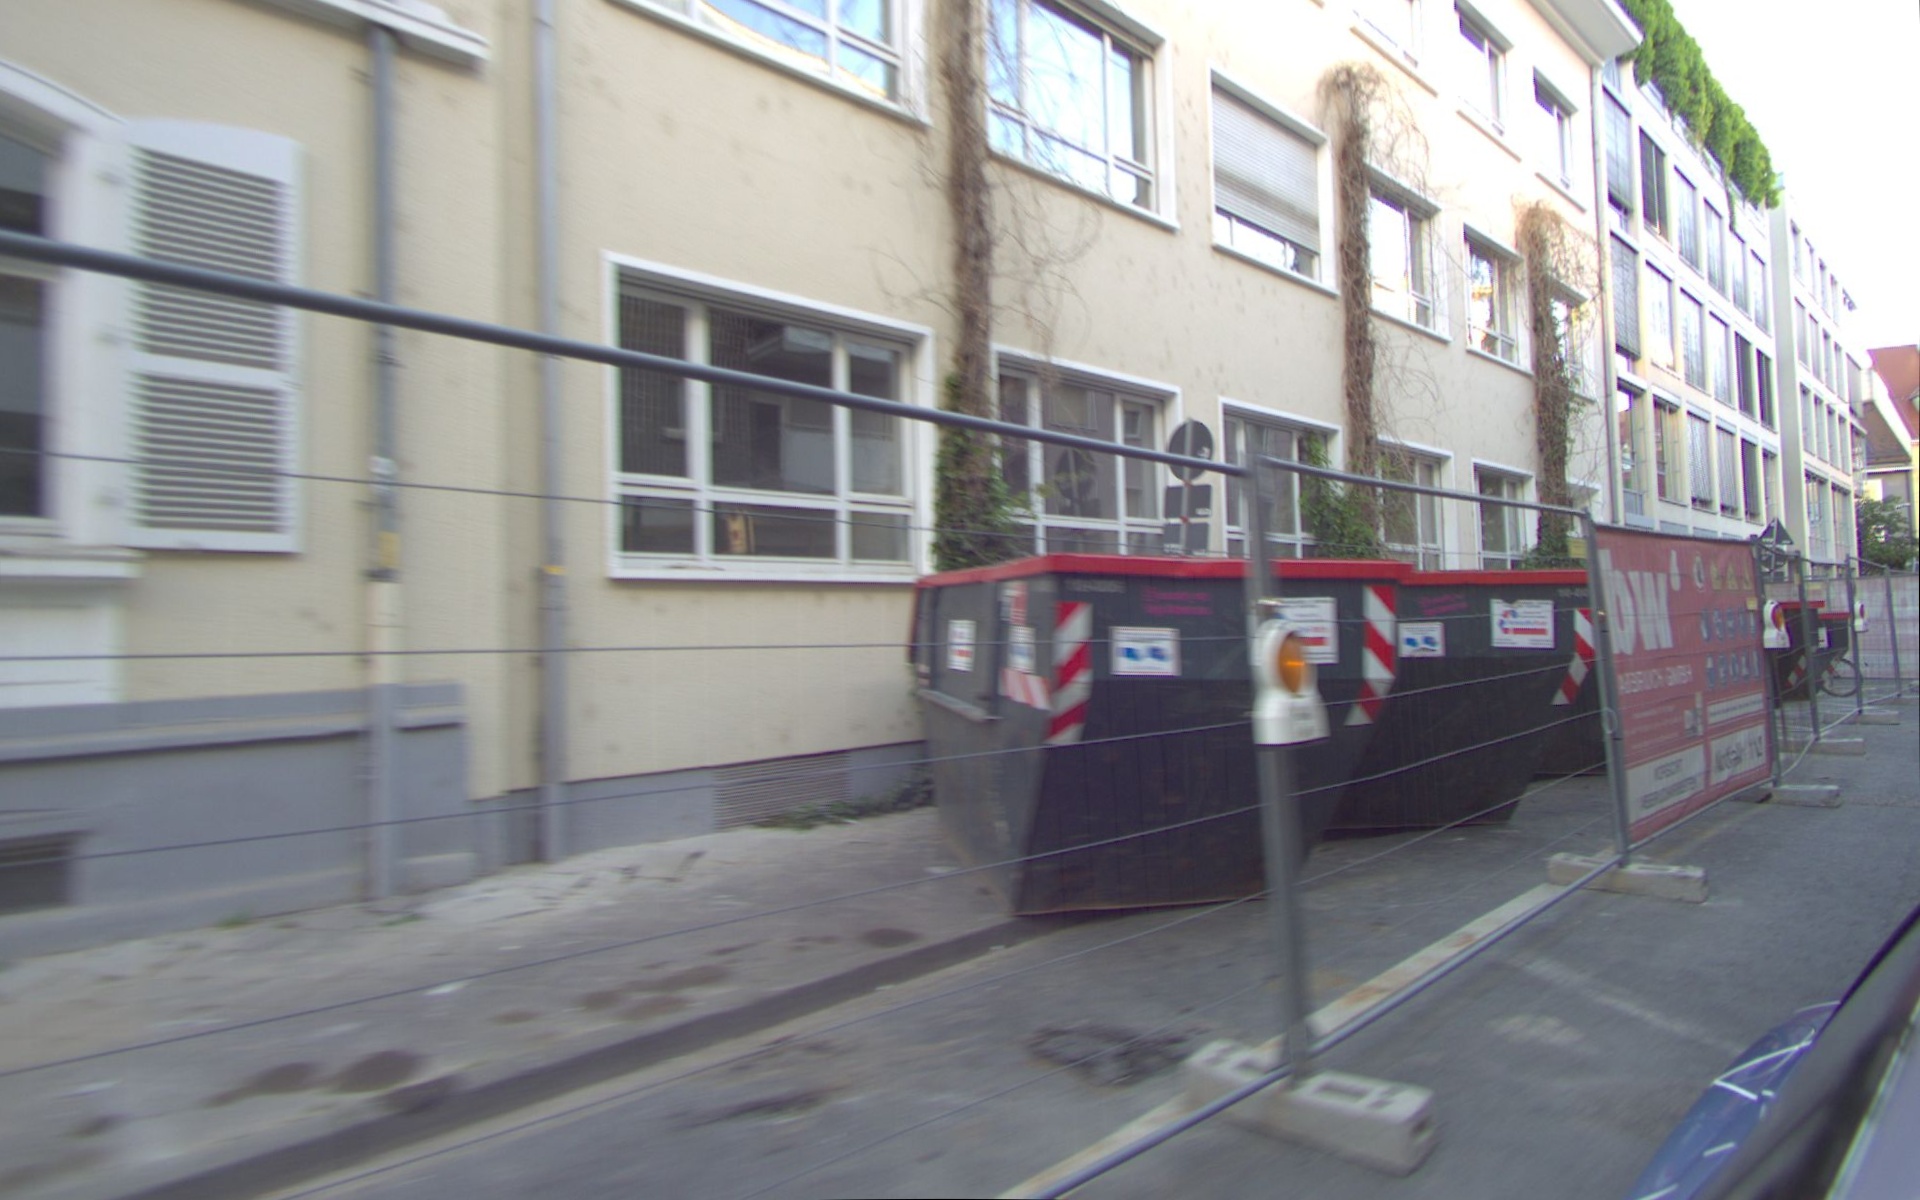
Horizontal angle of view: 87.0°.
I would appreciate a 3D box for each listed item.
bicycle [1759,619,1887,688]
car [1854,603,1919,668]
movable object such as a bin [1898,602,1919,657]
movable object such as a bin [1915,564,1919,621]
[{"bbox_3d":[14.612,0.883,17.204,0.463,1.096,1.777,-1,-1,-7],"label":"bicycle"},{"bbox_3d":[20.738,0.720,21.954,3.713,1.309,1.491,0,-3,-41],"label":"car"},{"bbox_3d":[24.681,0.671,25.201,3.713,1.309,1.491,0,-3,-41],"label":"movable object such as a bin"},{"bbox_3d":[36.363,-0.015,36.611,4.297,2.681,2.094,0,-3,-41],"label":"movable object such as a bin"}]
